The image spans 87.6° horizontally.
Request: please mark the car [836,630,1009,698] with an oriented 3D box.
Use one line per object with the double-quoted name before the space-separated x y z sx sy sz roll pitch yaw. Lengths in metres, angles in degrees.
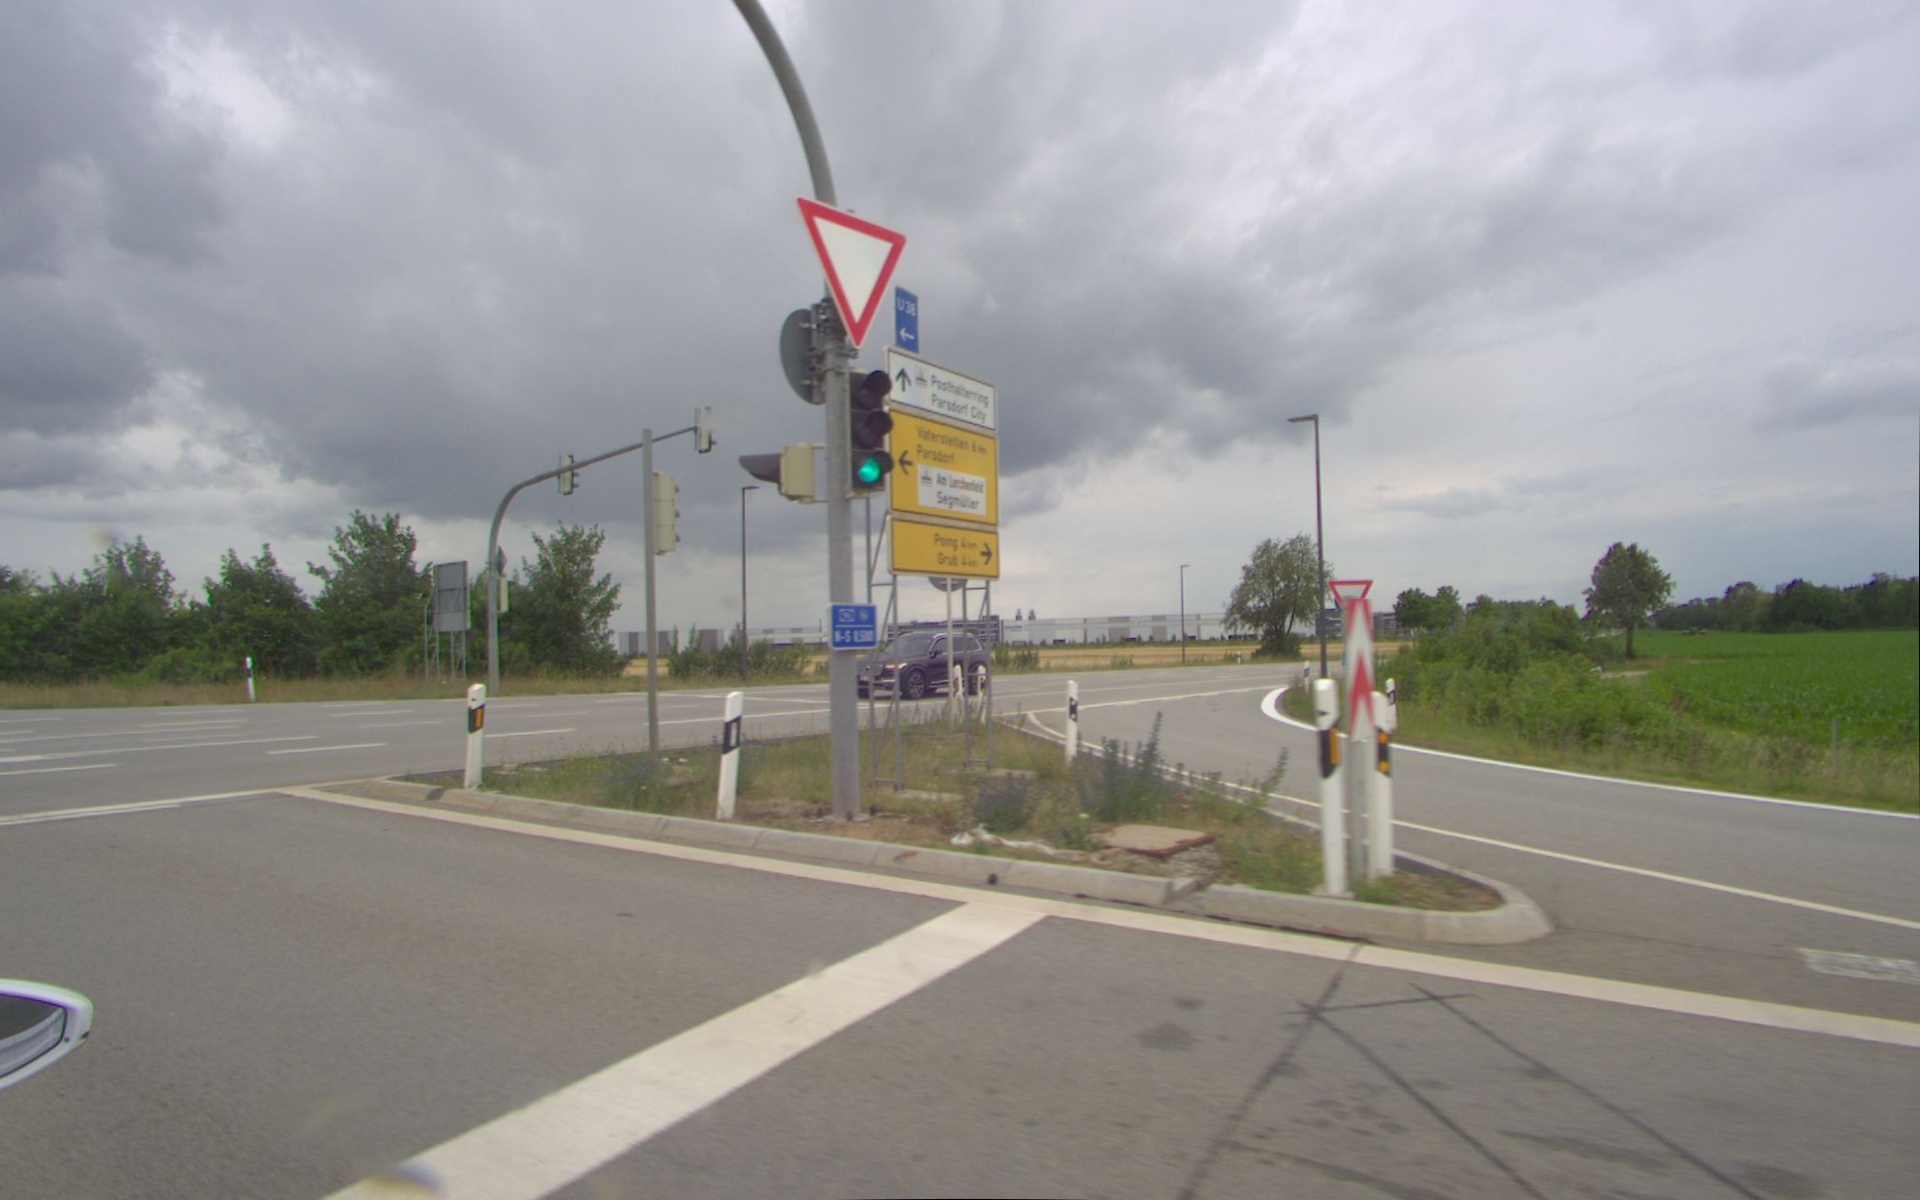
"car" -0.925 1.715 27.680 1.977 1.705 4.961 -2 -3 40
